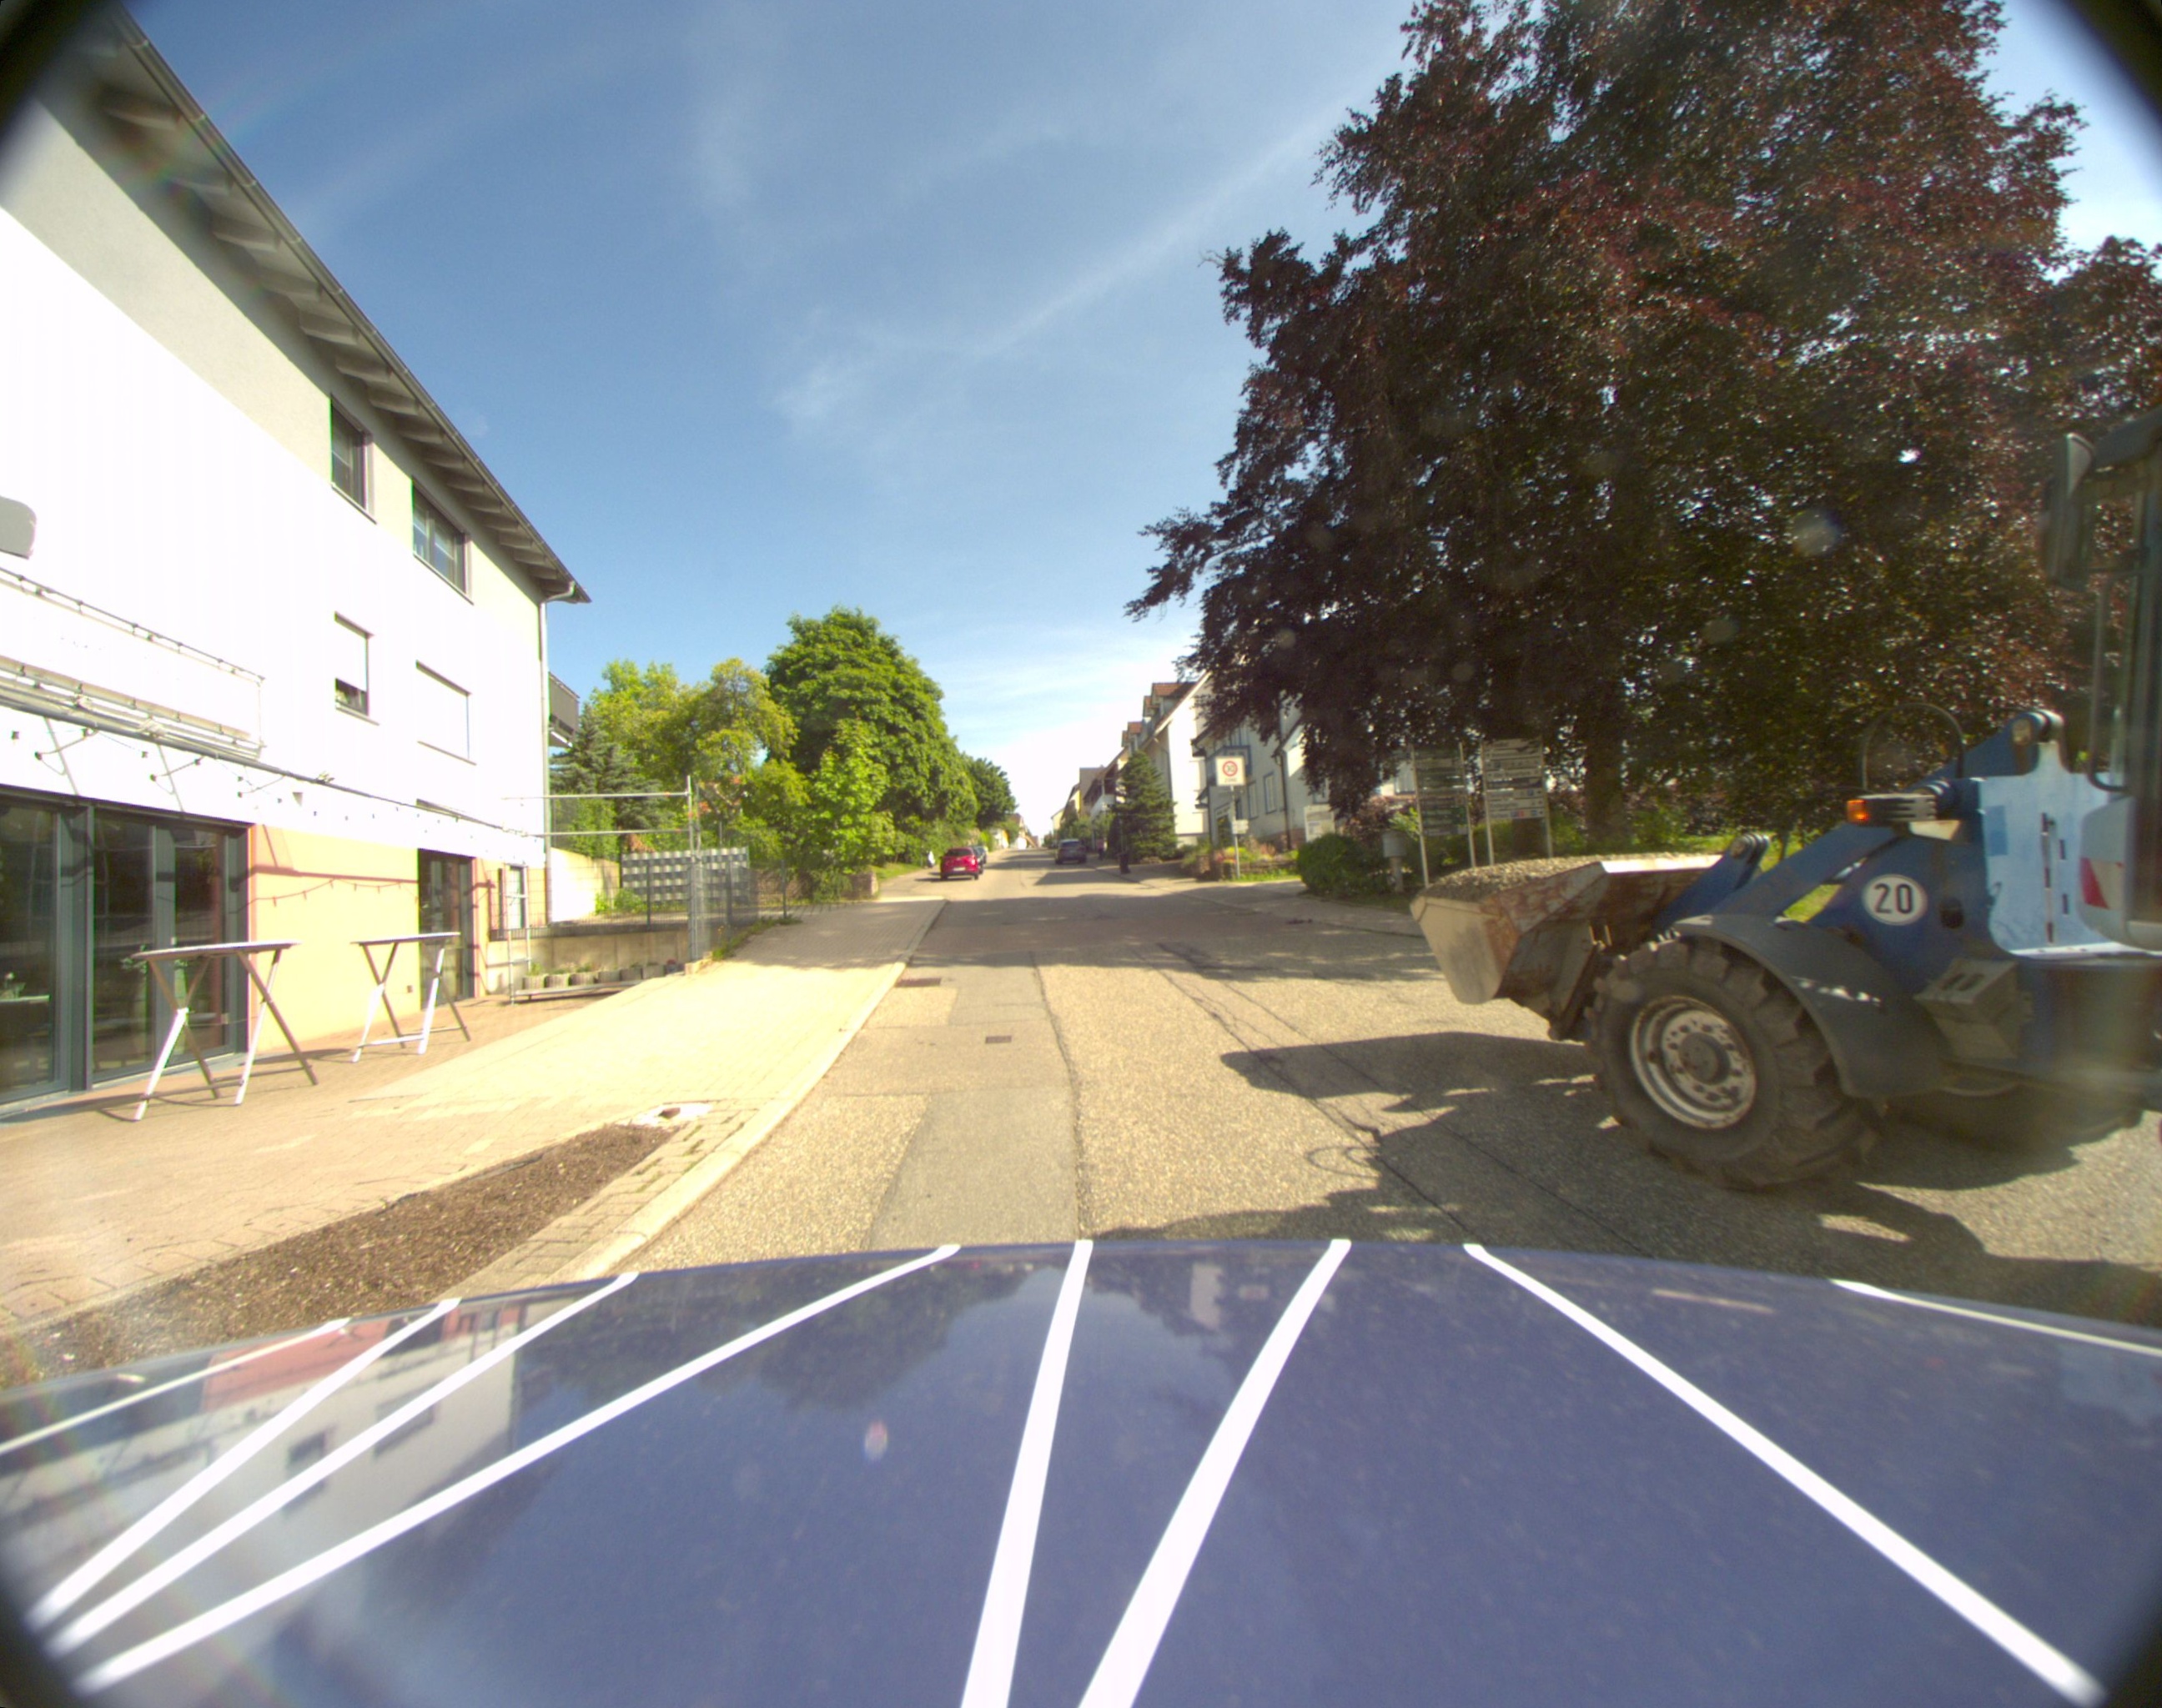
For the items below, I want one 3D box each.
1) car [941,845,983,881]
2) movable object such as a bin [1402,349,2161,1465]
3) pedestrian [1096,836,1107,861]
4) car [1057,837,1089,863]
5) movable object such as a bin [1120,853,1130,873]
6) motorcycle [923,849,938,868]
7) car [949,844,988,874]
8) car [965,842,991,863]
[{"bbox_3d":[-5.446,0.359,35.201,1.624,1.489,3.808,-3,1,-5],"label":"car"},{"bbox_3d":[3.547,0.115,2.612,2.000,2.753,5.100,-2,1,-10],"label":"movable object such as a bin"},{"bbox_3d":[1.324,-0.360,48.938,0.668,1.566,0.780,-2,2,1],"label":"pedestrian"},{"bbox_3d":[-0.589,-0.292,51.954,1.808,1.592,3.808,-3,1,-5],"label":"car"},{"bbox_3d":[1.892,0.387,32.940,0.351,0.859,0.395,-2,1,-5],"label":"movable object such as a bin"},{"bbox_3d":[-9.818,0.262,49.751,0.785,1.175,2.186,-2,1,-7],"label":"motorcycle"},{"bbox_3d":[-5.990,0.246,40.786,1.776,1.462,3.808,-3,1,-5],"label":"car"},{"bbox_3d":[-8.004,-0.141,59.190,1.776,1.462,3.808,-3,1,-5],"label":"car"}]
